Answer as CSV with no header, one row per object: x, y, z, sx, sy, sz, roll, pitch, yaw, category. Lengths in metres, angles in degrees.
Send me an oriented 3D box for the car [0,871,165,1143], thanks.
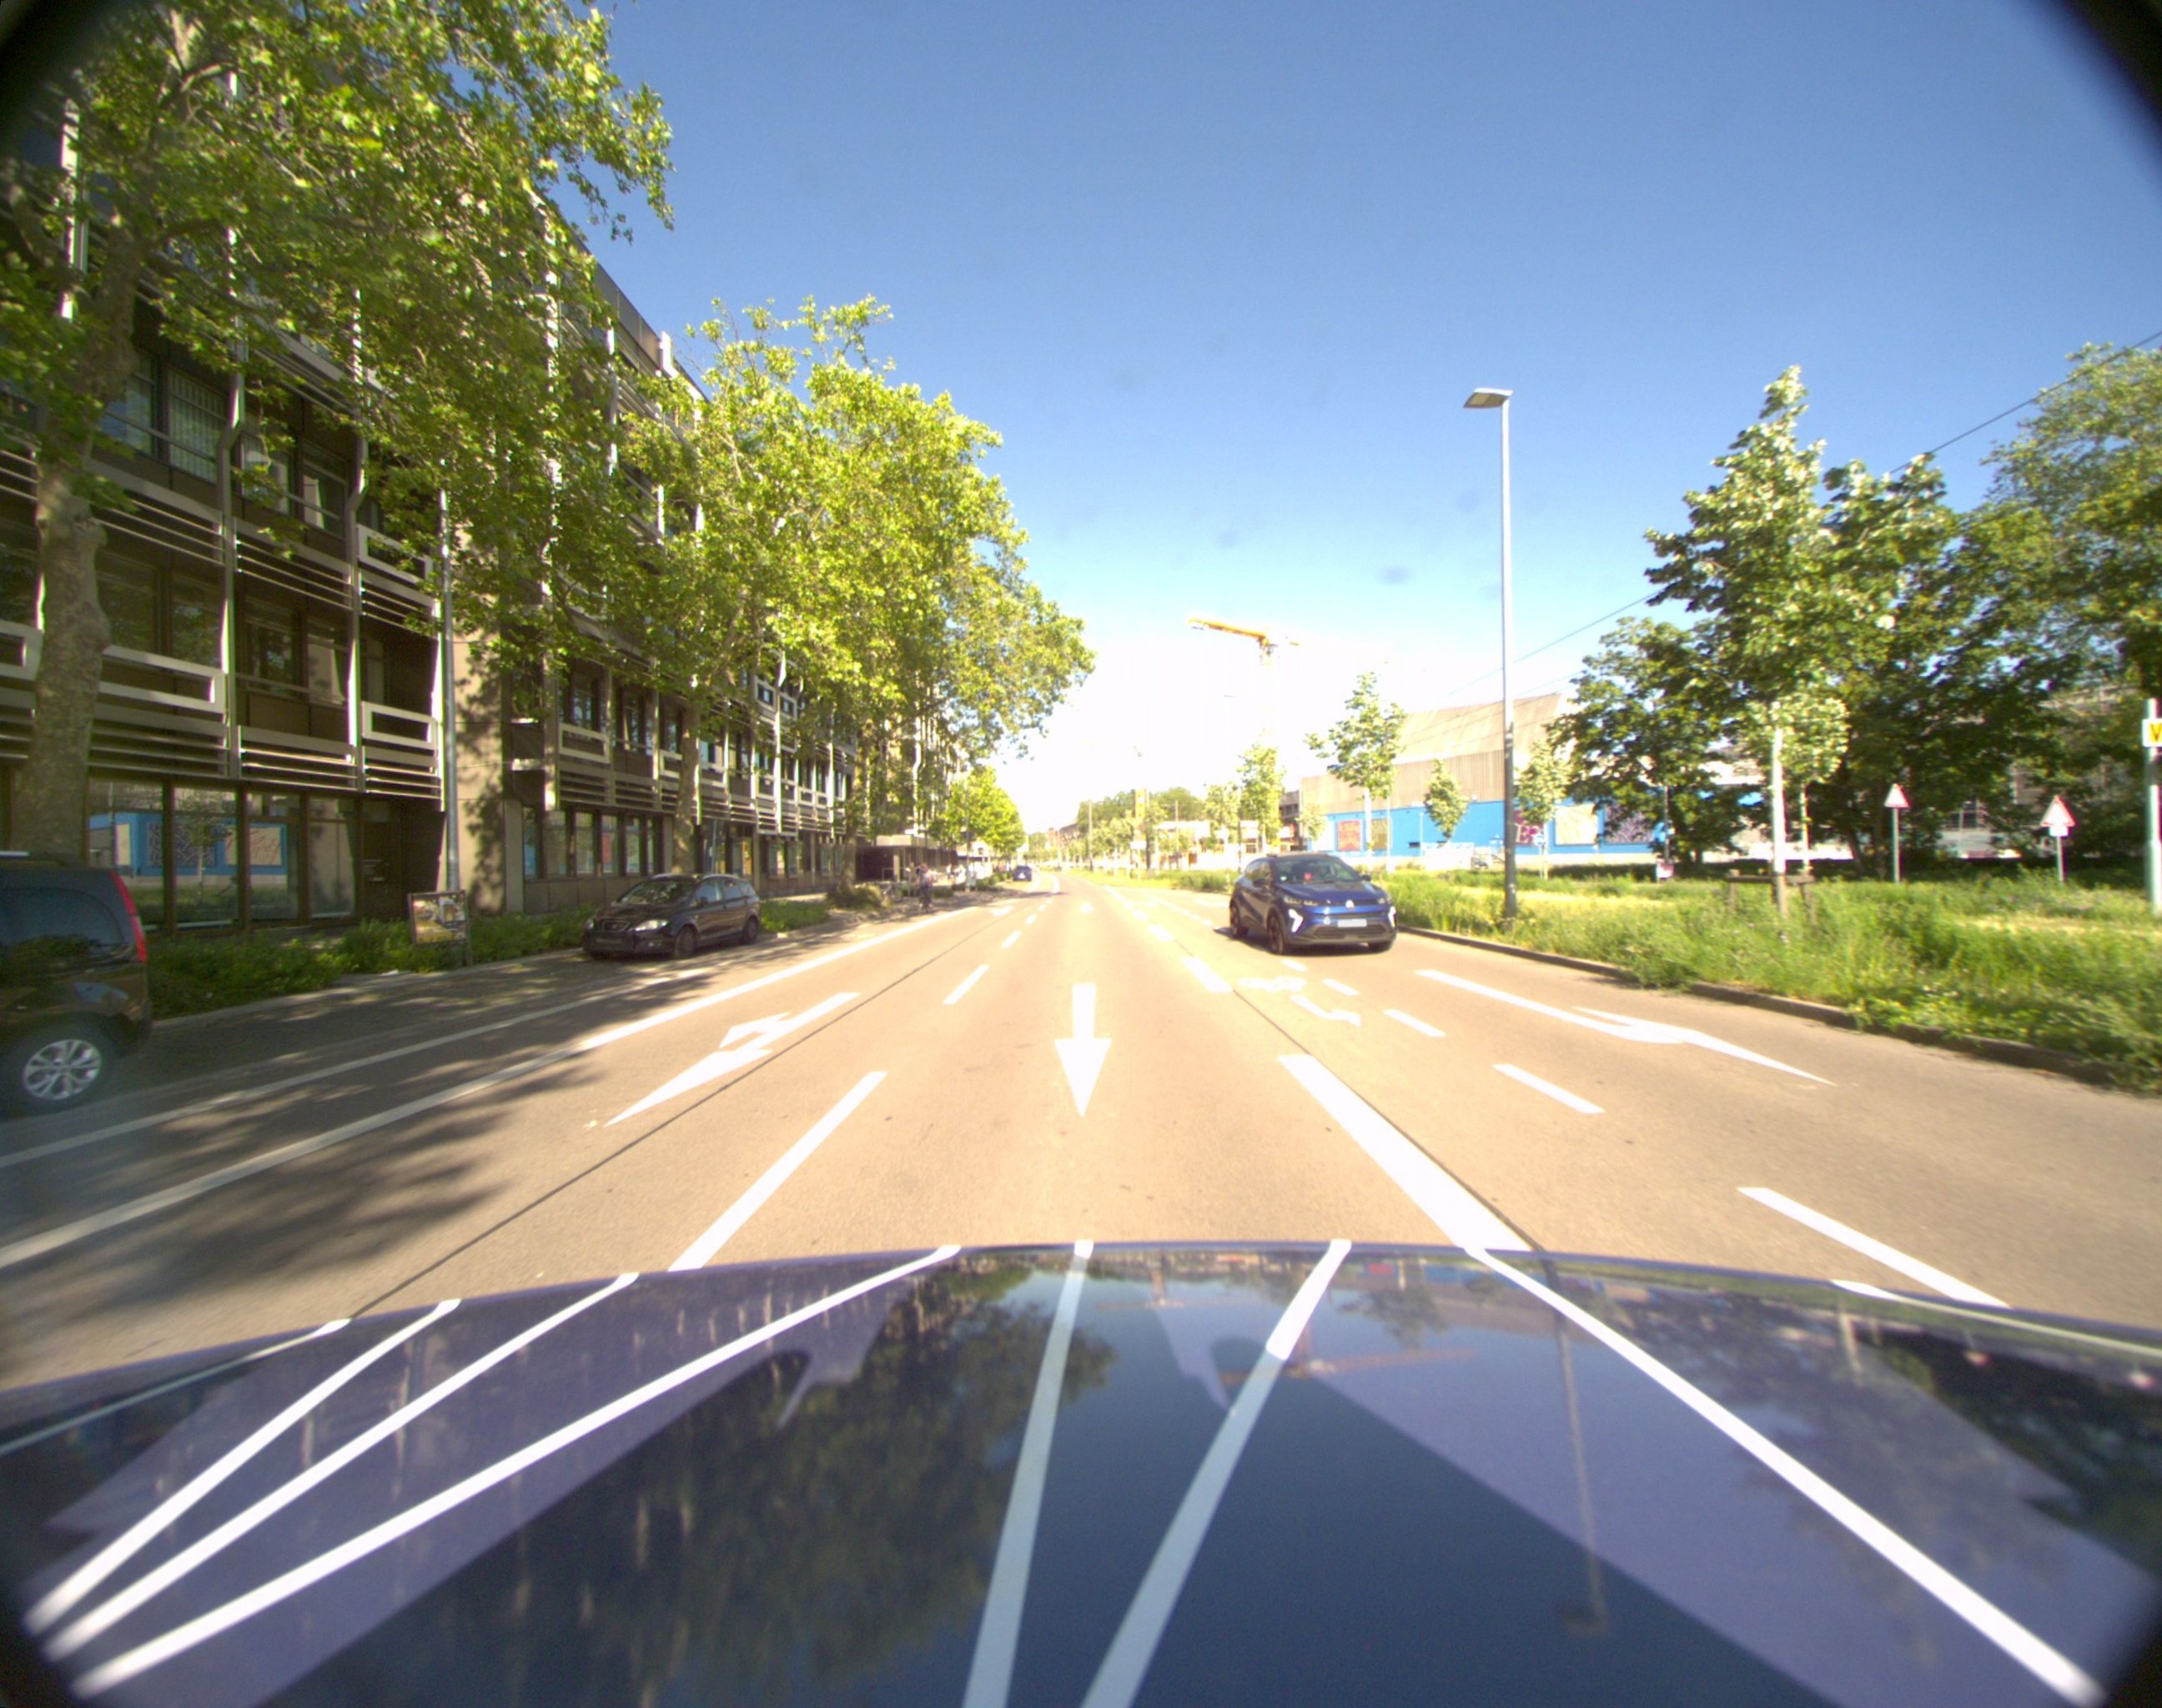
-8.027,1.005,3.831,1.708,1.779,4.192,1,0,1,car

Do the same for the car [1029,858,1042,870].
-7.970,1.729,133.670,1.822,1.783,4.000,-3,1,1,car

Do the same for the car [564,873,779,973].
-8.017,1.245,15.470,1.708,1.633,4.637,0,0,3,car

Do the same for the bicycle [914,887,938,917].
-5.374,1.657,26.418,0.499,0.900,2.196,-3,0,-4,bicycle

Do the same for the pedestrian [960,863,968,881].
-9.881,1.528,64.183,0.512,1.466,0.736,-2,0,0,pedestrian

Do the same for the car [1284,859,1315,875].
20.282,1.217,70.667,1.637,1.390,3.833,-2,0,-1,car

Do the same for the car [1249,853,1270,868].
23.274,0.887,99.205,1.802,1.787,4.000,-3,1,1,car

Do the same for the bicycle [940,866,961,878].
-12.033,1.659,69.945,1.862,1.091,0.427,1,0,2,bicycle

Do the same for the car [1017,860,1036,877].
-5.629,1.505,78.764,1.854,1.647,4.847,0,0,-2,car

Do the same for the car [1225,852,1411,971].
3.782,0.838,12.941,1.749,1.613,4.152,-3,0,-1,car

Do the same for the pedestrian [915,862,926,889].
-10.357,1.396,49.034,0.512,1.691,0.774,-2,0,0,pedestrian

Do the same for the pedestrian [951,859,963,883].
-9.238,1.248,56.617,0.649,1.717,0.803,-2,0,0,pedestrian

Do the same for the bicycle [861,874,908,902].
-8.700,1.515,33.718,1.942,1.229,0.579,0,0,-2,bicycle

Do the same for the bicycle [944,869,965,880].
-11.875,1.949,71.399,1.862,1.005,0.427,1,0,2,bicycle

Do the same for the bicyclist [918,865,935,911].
-5.401,1.183,26.584,0.514,1.592,0.536,-1,0,-4,bicyclist

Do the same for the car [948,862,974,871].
-21.189,2.216,134.110,4.411,1.535,1.851,-1,0,-16,car
